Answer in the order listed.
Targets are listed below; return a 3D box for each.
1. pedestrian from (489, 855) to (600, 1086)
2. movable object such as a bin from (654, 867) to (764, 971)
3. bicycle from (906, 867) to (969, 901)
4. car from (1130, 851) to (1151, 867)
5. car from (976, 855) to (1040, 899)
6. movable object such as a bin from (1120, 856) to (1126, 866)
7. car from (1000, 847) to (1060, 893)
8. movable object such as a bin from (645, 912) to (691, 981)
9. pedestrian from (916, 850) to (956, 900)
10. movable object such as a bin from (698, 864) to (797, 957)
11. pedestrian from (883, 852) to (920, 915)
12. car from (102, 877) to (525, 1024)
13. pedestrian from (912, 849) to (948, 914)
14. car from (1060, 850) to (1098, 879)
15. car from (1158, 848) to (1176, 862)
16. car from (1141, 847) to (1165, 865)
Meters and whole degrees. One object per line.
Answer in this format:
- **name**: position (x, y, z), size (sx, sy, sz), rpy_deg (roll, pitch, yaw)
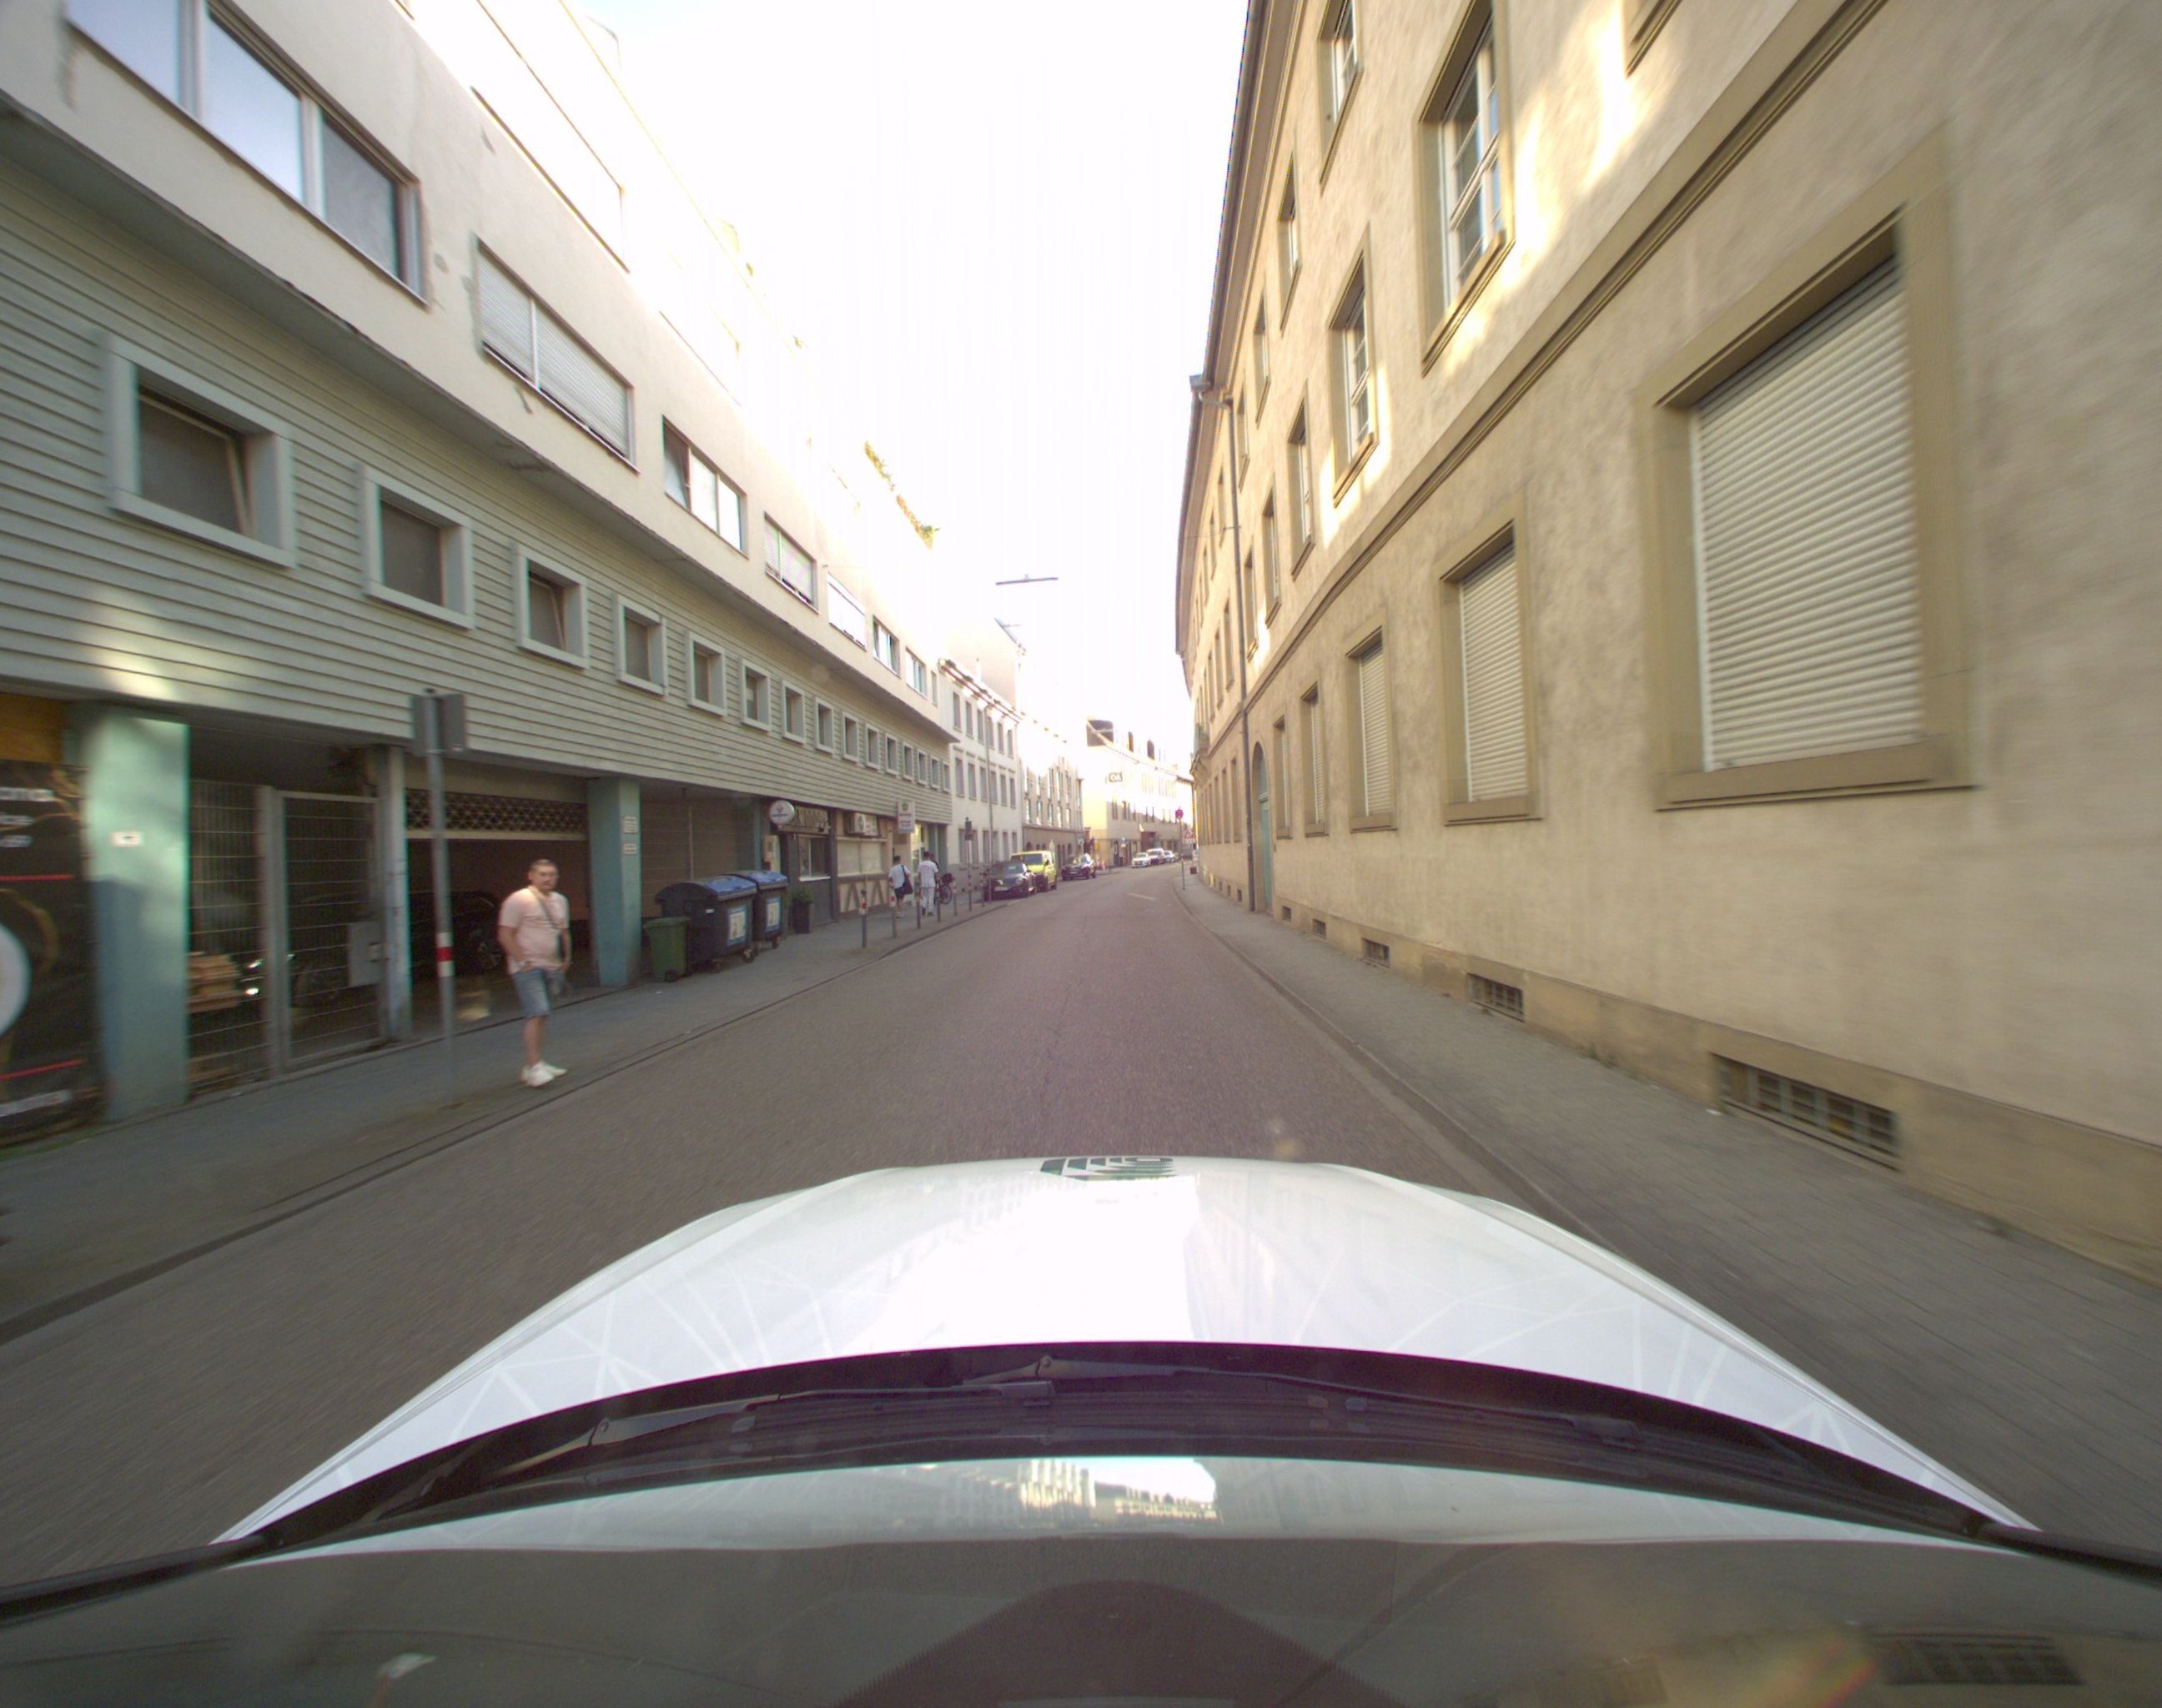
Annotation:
- **pedestrian**: position (-4.145, 0.841, 6.297), size (0.631, 1.669, 0.487), rpy_deg (0, 0, -45)
- **movable object such as a bin**: position (-5.904, 1.003, 13.049), size (0.965, 1.471, 1.475), rpy_deg (-2, 1, 2)
- **bicycle**: position (-5.212, 1.097, 29.539), size (2.108, 1.163, 0.828), rpy_deg (-2, 0, 26)
- **car**: position (6.240, 0.459, 85.020), size (1.659, 1.507, 3.806), rpy_deg (-4, 0, 12)
- **car**: position (-2.887, 0.880, 32.994), size (1.811, 1.486, 4.081), rpy_deg (-5, 0, 4)
- **movable object such as a bin**: position (4.468, 0.726, 86.535), size (0.605, 1.060, 0.715), rpy_deg (0, 0, 8)
- **car**: position (-2.326, 0.691, 38.451), size (1.870, 1.866, 4.872), rpy_deg (-5, 0, 6)
- **movable object such as a bin**: position (-6.105, 1.361, 12.053), size (0.391, 0.942, 0.467), rpy_deg (-2, 0, 2)
- **pedestrian**: position (-5.254, 0.757, 29.555), size (1.068, 1.728, 0.807), rpy_deg (-2, 0, 27)
- **movable object such as a bin**: position (-5.964, 0.980, 14.674), size (1.118, 1.520, 1.343), rpy_deg (-2, 1, 2)
- **pedestrian**: position (-4.973, 0.811, 22.597), size (0.669, 1.669, 0.895), rpy_deg (-3, 0, 4)
- **car**: position (-10.877, 1.234, 12.172), size (1.755, 1.535, 4.605), rpy_deg (-2, 1, 3)
- **pedestrian**: position (-4.203, 0.746, 22.693), size (0.695, 1.734, 0.830), rpy_deg (-4, 0, 4)
- **car**: position (-0.096, 0.680, 54.935), size (1.729, 1.711, 4.202), rpy_deg (-5, 0, 10)
- **car**: position (10.206, 0.159, 96.569), size (1.261, 1.507, 3.417), rpy_deg (-4, 0, 18)
- **car**: position (8.052, 0.180, 90.663), size (1.657, 1.818, 4.572), rpy_deg (-4, 0, 17)
